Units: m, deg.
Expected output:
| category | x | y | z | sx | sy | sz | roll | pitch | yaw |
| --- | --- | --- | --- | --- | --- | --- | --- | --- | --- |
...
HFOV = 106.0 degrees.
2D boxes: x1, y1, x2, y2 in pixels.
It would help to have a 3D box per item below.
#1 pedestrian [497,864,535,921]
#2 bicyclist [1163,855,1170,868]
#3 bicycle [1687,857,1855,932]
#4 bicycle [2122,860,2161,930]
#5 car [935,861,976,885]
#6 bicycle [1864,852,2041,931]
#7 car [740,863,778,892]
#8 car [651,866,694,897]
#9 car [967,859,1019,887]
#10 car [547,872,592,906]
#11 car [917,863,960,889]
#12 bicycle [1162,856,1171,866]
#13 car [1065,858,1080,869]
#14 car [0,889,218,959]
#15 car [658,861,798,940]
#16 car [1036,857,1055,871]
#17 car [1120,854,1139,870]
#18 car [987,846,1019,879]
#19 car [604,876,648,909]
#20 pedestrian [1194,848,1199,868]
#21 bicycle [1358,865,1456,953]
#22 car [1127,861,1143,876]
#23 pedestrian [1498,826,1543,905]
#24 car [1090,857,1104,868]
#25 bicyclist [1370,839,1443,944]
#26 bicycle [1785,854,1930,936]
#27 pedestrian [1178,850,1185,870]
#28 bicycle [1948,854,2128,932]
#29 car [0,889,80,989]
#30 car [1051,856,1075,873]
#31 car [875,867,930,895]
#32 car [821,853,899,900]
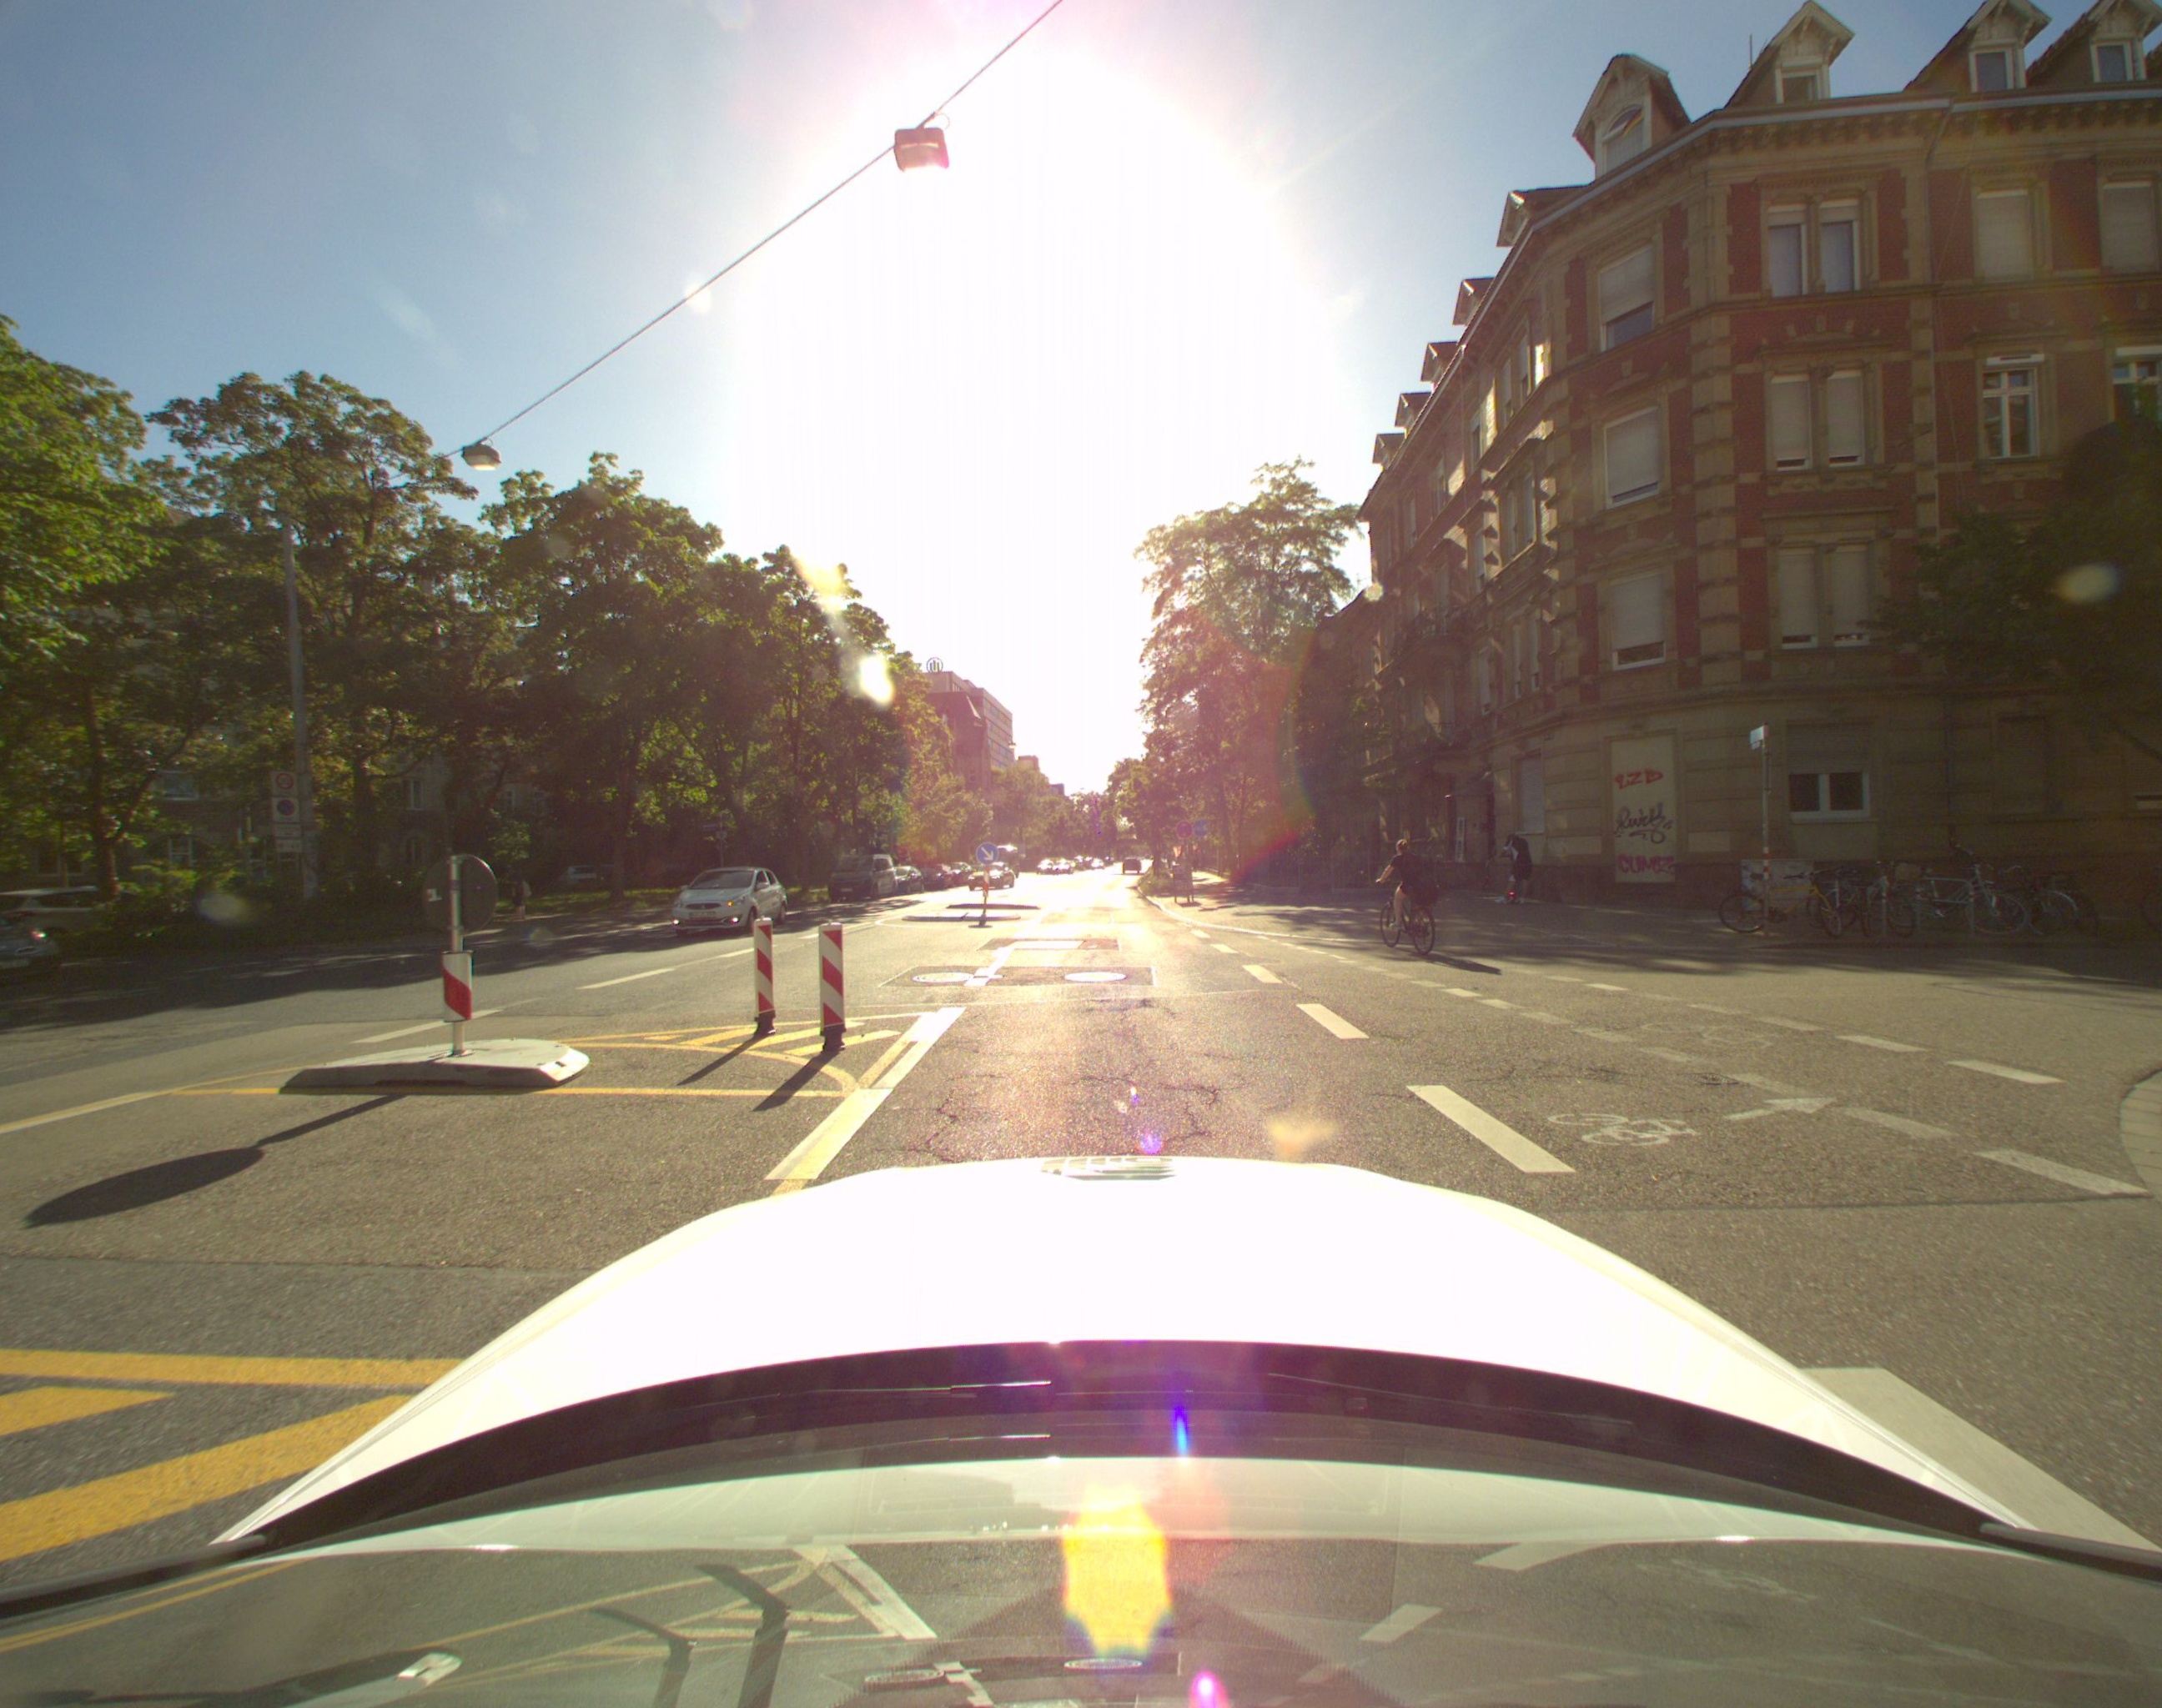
| category | x | y | z | sx | sy | sz | roll | pitch | yaw |
| --- | --- | --- | --- | --- | --- | --- | --- | --- | --- |
| pedestrian | -16.853 | 1.138 | 24.305 | 0.662 | 1.626 | 0.720 | -1 | 0 | 33 |
| bicyclist | 8.733 | 0.806 | 83.327 | 0.678 | 1.327 | 0.636 | 0 | -3 | 0 |
| bicycle | 10.856 | 0.612 | 12.870 | 0.699 | 1.095 | 1.947 | -1 | 0 | -43 |
| bicycle | 16.965 | 0.592 | 12.287 | 1.827 | 0.989 | 0.561 | -2 | 4 | -2 |
| car | -8.140 | 1.212 | 53.070 | 1.514 | 1.432 | 3.563 | -2 | 0 | 9 |
| bicycle | 13.705 | 0.551 | 12.911 | 0.723 | 1.131 | 2.035 | -2 | 0 | 5 |
| car | -19.784 | 1.413 | 50.152 | 1.982 | 1.662 | 3.973 | -1 | 0 | -20 |
| car | -23.606 | 1.546 | 46.974 | 1.987 | 1.662 | 3.962 | -2 | 0 | -30 |
| car | -4.731 | 1.025 | 44.500 | 1.774 | 1.460 | 4.424 | -1 | -1 | 8 |
| car | -28.237 | 1.885 | 44.956 | 1.989 | 1.662 | 3.959 | -2 | 0 | -33 |
| car | -8.280 | 1.313 | 47.467 | 1.515 | 1.433 | 3.343 | -1 | -3 | 8 |
| bicycle | 8.770 | 0.761 | 83.275 | 0.673 | 0.938 | 2.281 | -2 | -2 | 1 |
| car | -1.240 | 1.382 | 120.093 | 1.928 | 1.519 | 4.030 | -1 | -3 | 1 |
| car | -25.757 | 1.776 | 21.374 | 1.839 | 1.654 | 3.999 | -1 | -3 | 1 |
| car | -8.123 | 0.993 | 19.117 | 1.755 | 1.519 | 3.854 | -3 | 1 | -4 |
| car | -3.963 | 1.094 | 90.604 | 1.795 | 1.504 | 3.809 | -2 | 0 | 2 |
| car | 4.998 | 0.841 | 84.362 | 1.888 | 1.519 | 4.001 | 1 | 1 | 1 |
| car | -6.592 | 0.680 | 69.629 | 1.818 | 2.651 | 5.167 | -2 | 0 | 4 |
| car | -25.536 | 2.108 | 45.645 | 1.988 | 1.662 | 3.960 | -2 | 0 | -31 |
| pedestrian | 11.787 | 0.446 | 82.978 | 0.474 | 2.014 | 0.492 | 0 | -3 | 1 |
| bicycle | 5.082 | 0.814 | 12.842 | 0.738 | 1.219 | 1.961 | -4 | 0 | 2 |
| car | 6.707 | 1.748 | 100.905 | 1.811 | 1.740 | 4.005 | -1 | 0 | 5 |
| pedestrian | 10.416 | 0.284 | 19.324 | 0.652 | 1.816 | 0.752 | -1 | -3 | 5 |
| car | 2.331 | 1.245 | 116.770 | 1.928 | 1.519 | 4.030 | -1 | -3 | 1 |
| bicyclist | 5.107 | 0.564 | 12.845 | 0.739 | 1.580 | 1.101 | -1 | 1 | 2 |
| bicycle | 12.293 | 0.608 | 12.990 | 0.575 | 1.094 | 1.975 | 0 | 3 | 6 |
| pedestrian | 10.329 | 0.641 | 83.651 | 0.612 | 2.013 | 0.681 | -2 | 0 | 1 |
| bicycle | 15.061 | 0.575 | 12.916 | 0.557 | 1.131 | 2.035 | -2 | 0 | 5 |
| car | -18.791 | 1.391 | 12.833 | 3.967 | 1.469 | 1.814 | -1 | 3 | 5 |
| car | -1.741 | 1.004 | 79.691 | 1.629 | 1.519 | 4.039 | -2 | 0 | 8 |
| car | -9.189 | 1.433 | 42.248 | 1.705 | 1.353 | 4.004 | -1 | -3 | 5 |
| car | -9.866 | 0.971 | 36.822 | 2.192 | 1.929 | 4.861 | -2 | 0 | 0 |
